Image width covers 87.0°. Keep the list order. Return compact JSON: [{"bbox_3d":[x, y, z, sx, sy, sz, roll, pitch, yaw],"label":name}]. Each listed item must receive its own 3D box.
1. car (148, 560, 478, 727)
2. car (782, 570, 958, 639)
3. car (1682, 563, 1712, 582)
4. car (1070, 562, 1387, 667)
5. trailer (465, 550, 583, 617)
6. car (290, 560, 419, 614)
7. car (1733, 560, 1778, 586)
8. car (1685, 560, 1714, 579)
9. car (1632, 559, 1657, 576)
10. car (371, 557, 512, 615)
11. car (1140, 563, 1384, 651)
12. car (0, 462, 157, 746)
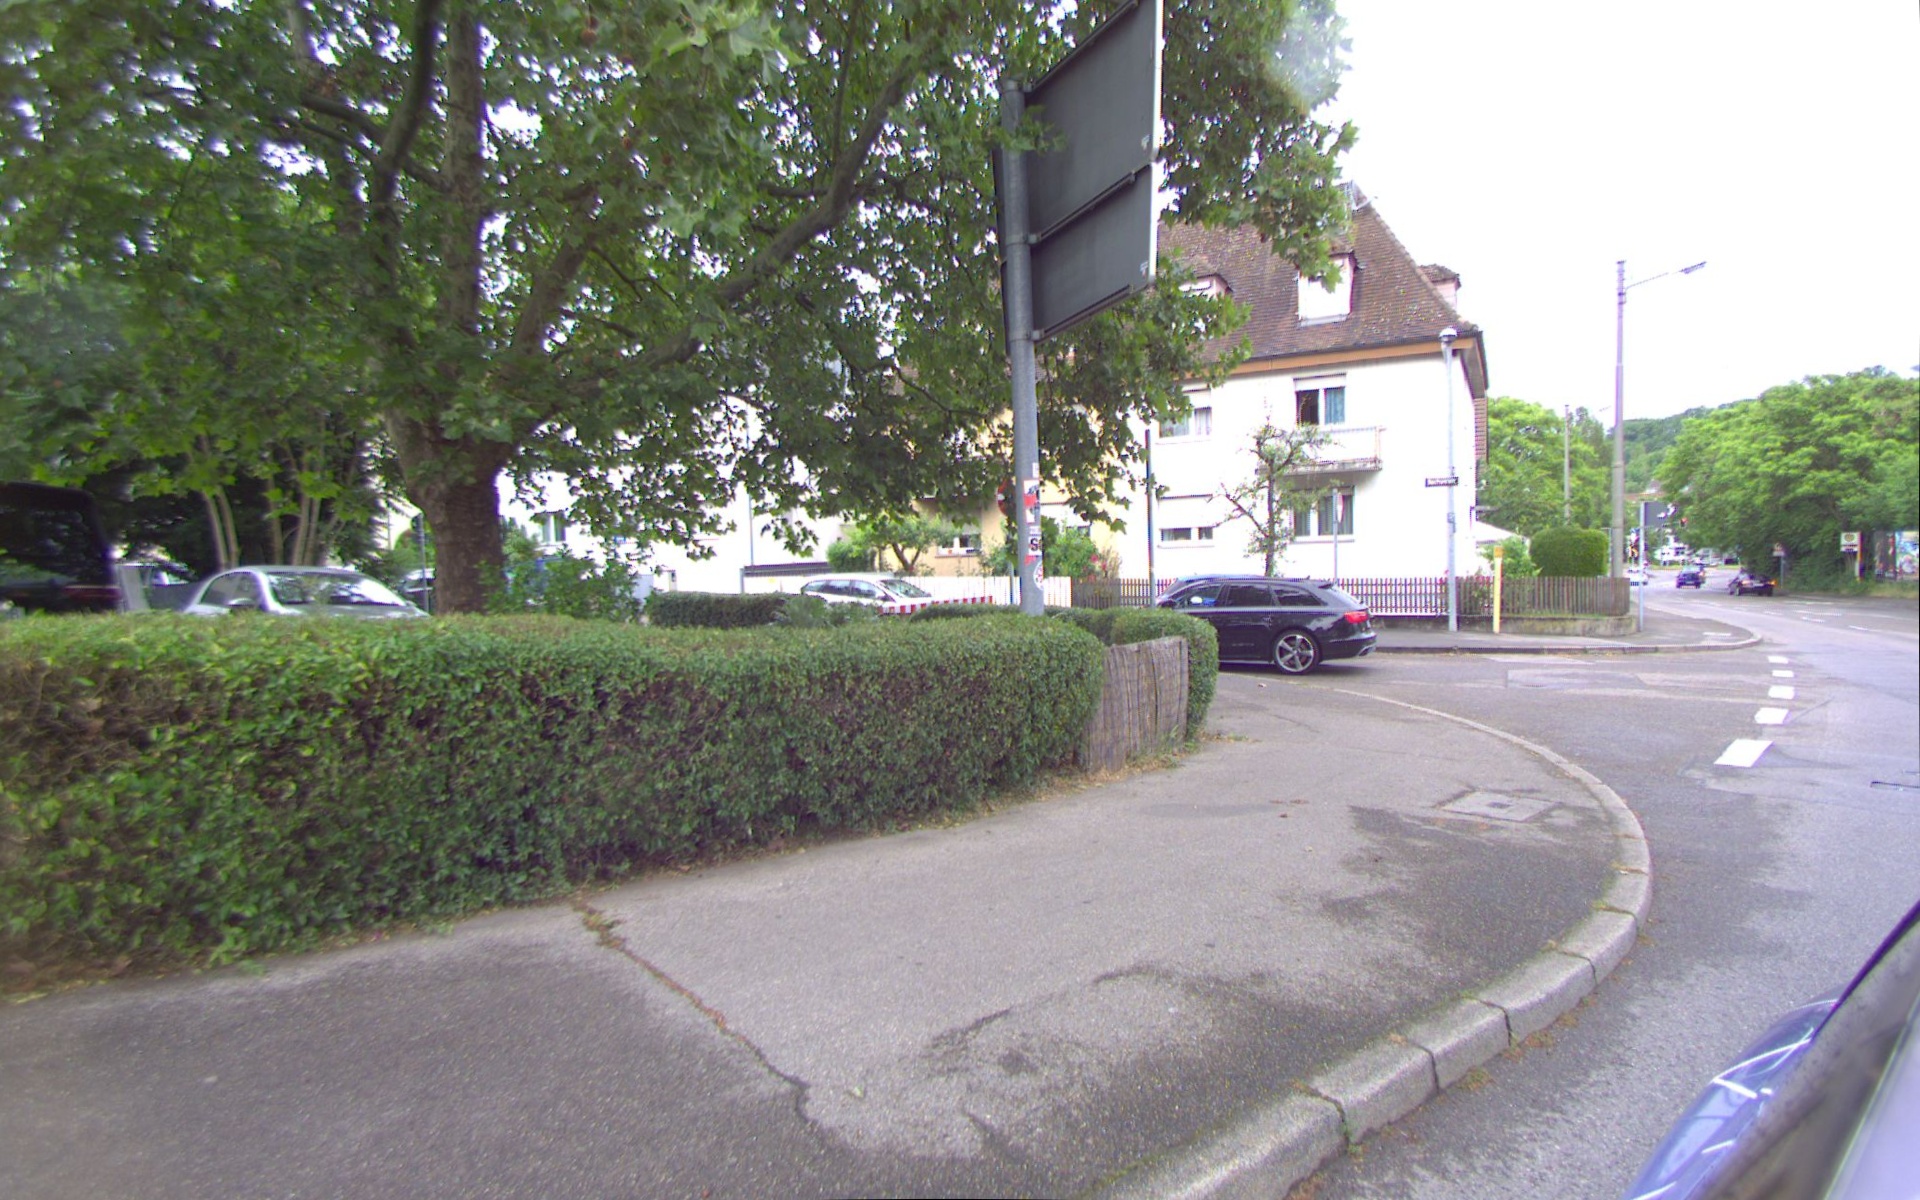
[{"bbox_3d":[-7.461,0.364,11.573,3.974,1.599,1.800,1,2,35],"label":"car"},{"bbox_3d":[-2.097,0.059,23.394,3.752,1.471,1.754,1,1,30],"label":"car"},{"bbox_3d":[63.537,-2.396,87.313,1.589,1.442,3.663,2,5,28],"label":"car"},{"bbox_3d":[4.357,0.151,16.540,4.768,1.498,1.870,1,2,25],"label":"car"},{"bbox_3d":[-13.939,-0.553,32.366,3.456,2.038,1.657,1,1,26],"label":"trailer"},{"bbox_3d":[-22.090,-0.508,36.890,4.535,1.862,1.982,1,2,28],"label":"car"},{"bbox_3d":[50.337,-1.678,64.087,1.835,1.588,4.360,1,1,33],"label":"car"},{"bbox_3d":[76.486,-3.177,104.742,1.948,1.955,4.632,1,2,31],"label":"car"},{"bbox_3d":[68.166,-3.256,100.831,1.822,1.598,4.286,-1,1,31],"label":"car"},{"bbox_3d":[-17.521,-0.495,34.174,4.535,1.862,1.982,1,2,28],"label":"car"},{"bbox_3d":[5.672,0.056,19.144,4.095,1.498,1.865,1,2,32],"label":"car"},{"bbox_3d":[-8.552,0.003,7.977,4.376,1.956,1.980,1,2,29],"label":"car"}]
